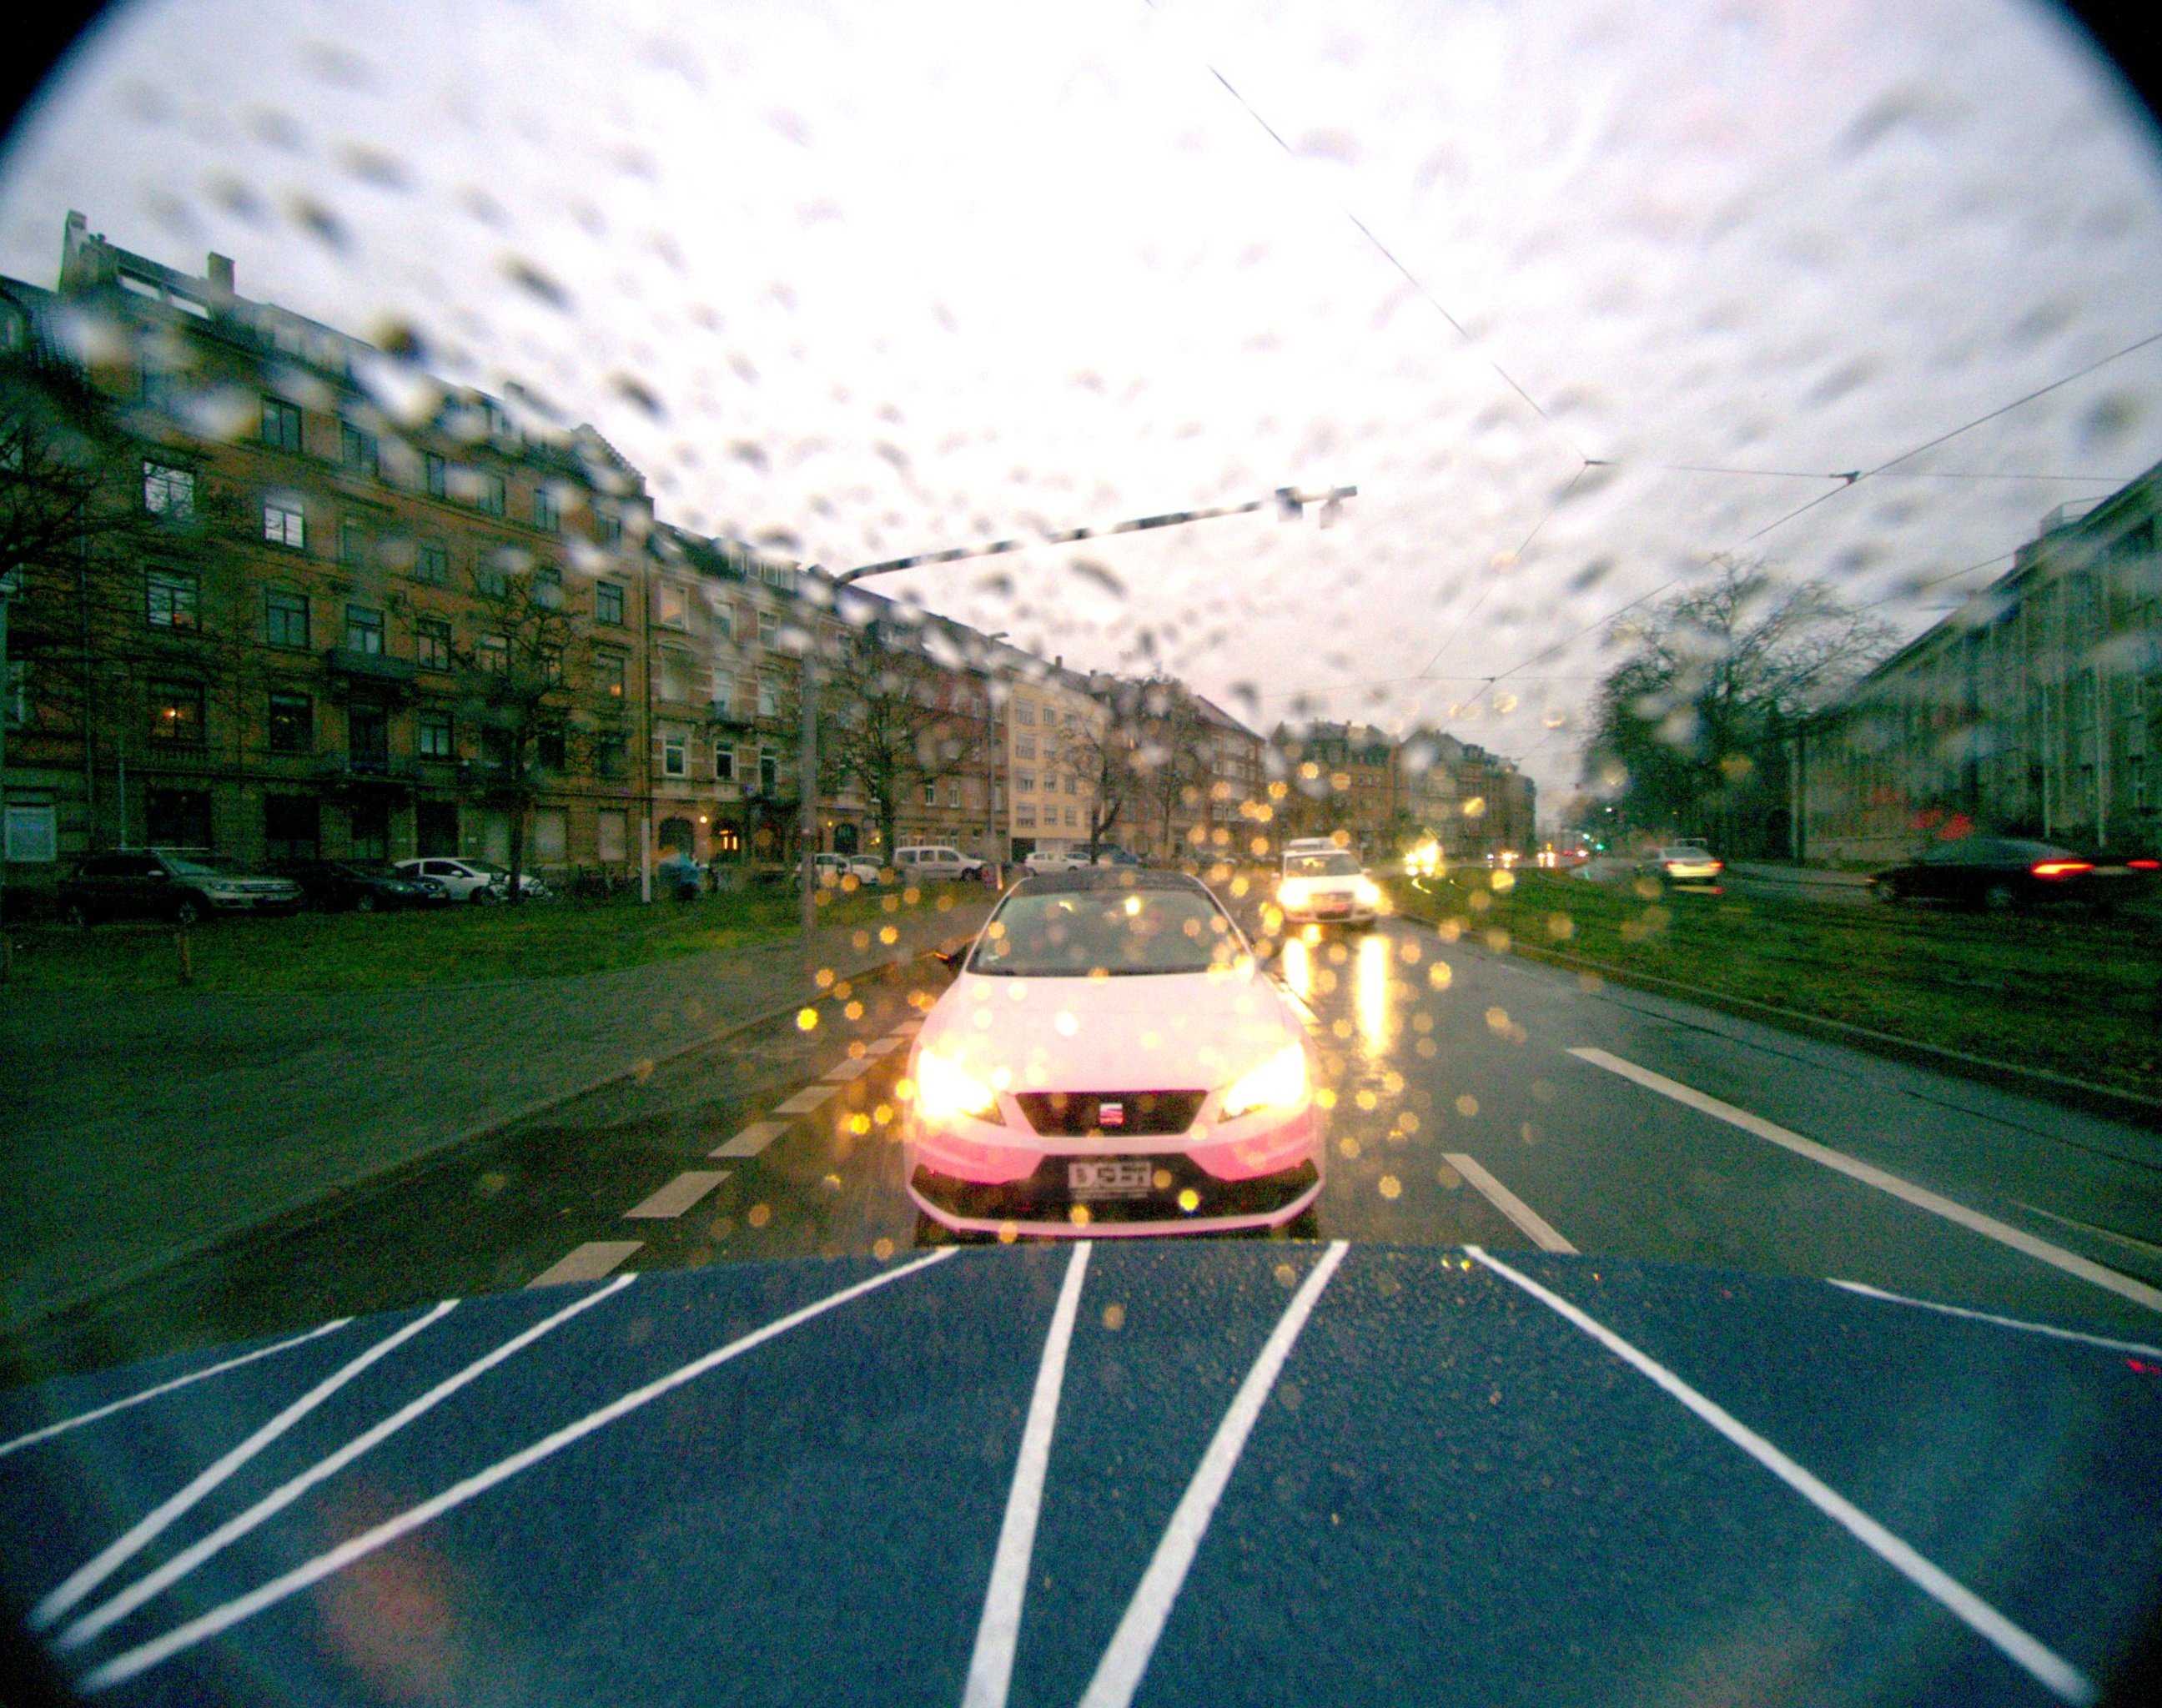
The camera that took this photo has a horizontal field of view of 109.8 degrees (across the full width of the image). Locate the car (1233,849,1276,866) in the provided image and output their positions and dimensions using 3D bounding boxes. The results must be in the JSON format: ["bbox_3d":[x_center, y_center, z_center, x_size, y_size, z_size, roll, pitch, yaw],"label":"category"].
[{"bbox_3d":[15.806,0.303,69.401,3.760,1.346,1.603,-3,0,11],"label":"car"}]

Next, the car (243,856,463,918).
[{"bbox_3d":[-17.949,0.803,18.864,3.742,1.346,1.677,-2,-1,-2],"label":"car"}]

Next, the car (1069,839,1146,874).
[{"bbox_3d":[1.661,0.159,48.545,4.720,1.971,1.799,-2,0,-2],"label":"car"}]

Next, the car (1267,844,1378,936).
[{"bbox_3d":[4.977,0.669,16.163,1.673,1.650,4.151,-3,0,11],"label":"car"}]

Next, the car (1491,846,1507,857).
[{"bbox_3d":[60.730,-0.370,110.308,1.719,1.608,3.946,-1,0,32],"label":"car"}]

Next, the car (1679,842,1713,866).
[{"bbox_3d":[39.231,-0.006,48.526,1.557,1.420,2.960,-1,1,36],"label":"car"}]

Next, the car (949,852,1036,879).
[{"bbox_3d":[-4.482,0.582,38.806,4.058,1.227,1.771,1,0,6],"label":"car"}]

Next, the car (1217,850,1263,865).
[{"bbox_3d":[13.721,0.292,65.736,3.762,1.271,1.602,-1,0,5],"label":"car"}]

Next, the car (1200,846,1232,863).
[{"bbox_3d":[14.289,0.053,80.320,1.670,1.693,3.472,-3,0,40],"label":"car"}]

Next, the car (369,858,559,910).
[{"bbox_3d":[-17.112,0.798,21.210,3.856,1.329,1.698,-1,0,-1],"label":"car"}]

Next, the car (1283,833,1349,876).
[{"bbox_3d":[14.156,-0.032,45.532,2.125,2.366,5.649,-3,0,34],"label":"car"}]

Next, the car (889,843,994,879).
[{"bbox_3d":[-6.661,0.314,36.535,4.659,1.583,1.778,1,1,3],"label":"car"}]

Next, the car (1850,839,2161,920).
[{"bbox_3d":[19.114,0.460,16.035,1.660,1.392,4.526,-3,0,9],"label":"car"}]

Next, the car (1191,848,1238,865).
[{"bbox_3d":[10.977,0.237,62.334,3.760,1.325,1.603,-1,1,11],"label":"car"}]

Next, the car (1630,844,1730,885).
[{"bbox_3d":[23.722,0.381,30.290,1.823,1.426,4.662,-3,0,21],"label":"car"}]

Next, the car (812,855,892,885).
[{"bbox_3d":[-12.607,0.851,42.087,1.733,1.492,4.058,-3,-1,32],"label":"car"}]

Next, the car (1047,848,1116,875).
[{"bbox_3d":[0.024,0.435,45.826,3.998,1.406,1.641,-3,0,-2],"label":"car"}]

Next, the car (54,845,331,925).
[{"bbox_3d":[-19.506,0.627,16.808,3.996,1.627,1.944,0,1,4],"label":"car"}]

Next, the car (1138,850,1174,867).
[{"bbox_3d":[6.990,0.380,70.599,1.470,1.534,3.880,0,1,38],"label":"car"}]

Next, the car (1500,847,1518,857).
[{"bbox_3d":[61.987,-0.281,110.060,1.892,1.405,3.955,0,0,35],"label":"car"}]

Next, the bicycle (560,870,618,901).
[{"bbox_3d":[-16.118,1.043,24.857,2.165,0.960,0.627,-2,-2,28],"label":"bicycle"}]

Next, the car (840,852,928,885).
[{"bbox_3d":[-8.817,0.636,34.198,3.430,1.343,1.664,-2,0,2],"label":"car"}]

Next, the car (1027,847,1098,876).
[{"bbox_3d":[-1.019,0.433,43.707,3.770,1.424,1.762,-3,0,9],"label":"car"}]

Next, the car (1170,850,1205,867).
[{"bbox_3d":[10.666,0.430,75.826,1.690,1.534,4.008,-3,0,38],"label":"car"}]

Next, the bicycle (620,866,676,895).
[{"bbox_3d":[-15.092,0.917,26.441,2.165,0.960,0.627,0,1,28],"label":"bicycle"}]

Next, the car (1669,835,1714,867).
[{"bbox_3d":[41.857,-0.213,52.203,1.995,2.002,4.518,-3,0,35],"label":"car"}]

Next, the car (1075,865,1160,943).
[{"bbox_3d":[0.803,0.966,15.932,1.589,1.418,3.135,-1,0,4],"label":"car"}]

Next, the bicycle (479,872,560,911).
[{"bbox_3d":[-14.418,0.945,19.572,1.655,0.931,0.513,0,0,-35],"label":"bicycle"}]

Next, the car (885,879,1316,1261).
[{"bbox_3d":[0.165,0.963,4.979,1.714,1.404,3.680,-3,0,3],"label":"car"}]

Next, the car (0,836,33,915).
[{"bbox_3d":[-29.109,0.551,17.902,1.994,2.002,4.996,1,1,31],"label":"car"}]

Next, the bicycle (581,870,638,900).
[{"bbox_3d":[-15.800,1.061,25.468,2.165,0.960,0.627,-2,-2,28],"label":"bicycle"}]

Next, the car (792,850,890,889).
[{"bbox_3d":[-9.986,0.644,31.725,3.462,1.435,1.615,-2,0,6],"label":"car"}]

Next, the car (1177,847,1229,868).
[{"bbox_3d":[9.574,0.293,59.768,3.869,1.397,1.695,-3,0,6],"label":"car"}]
